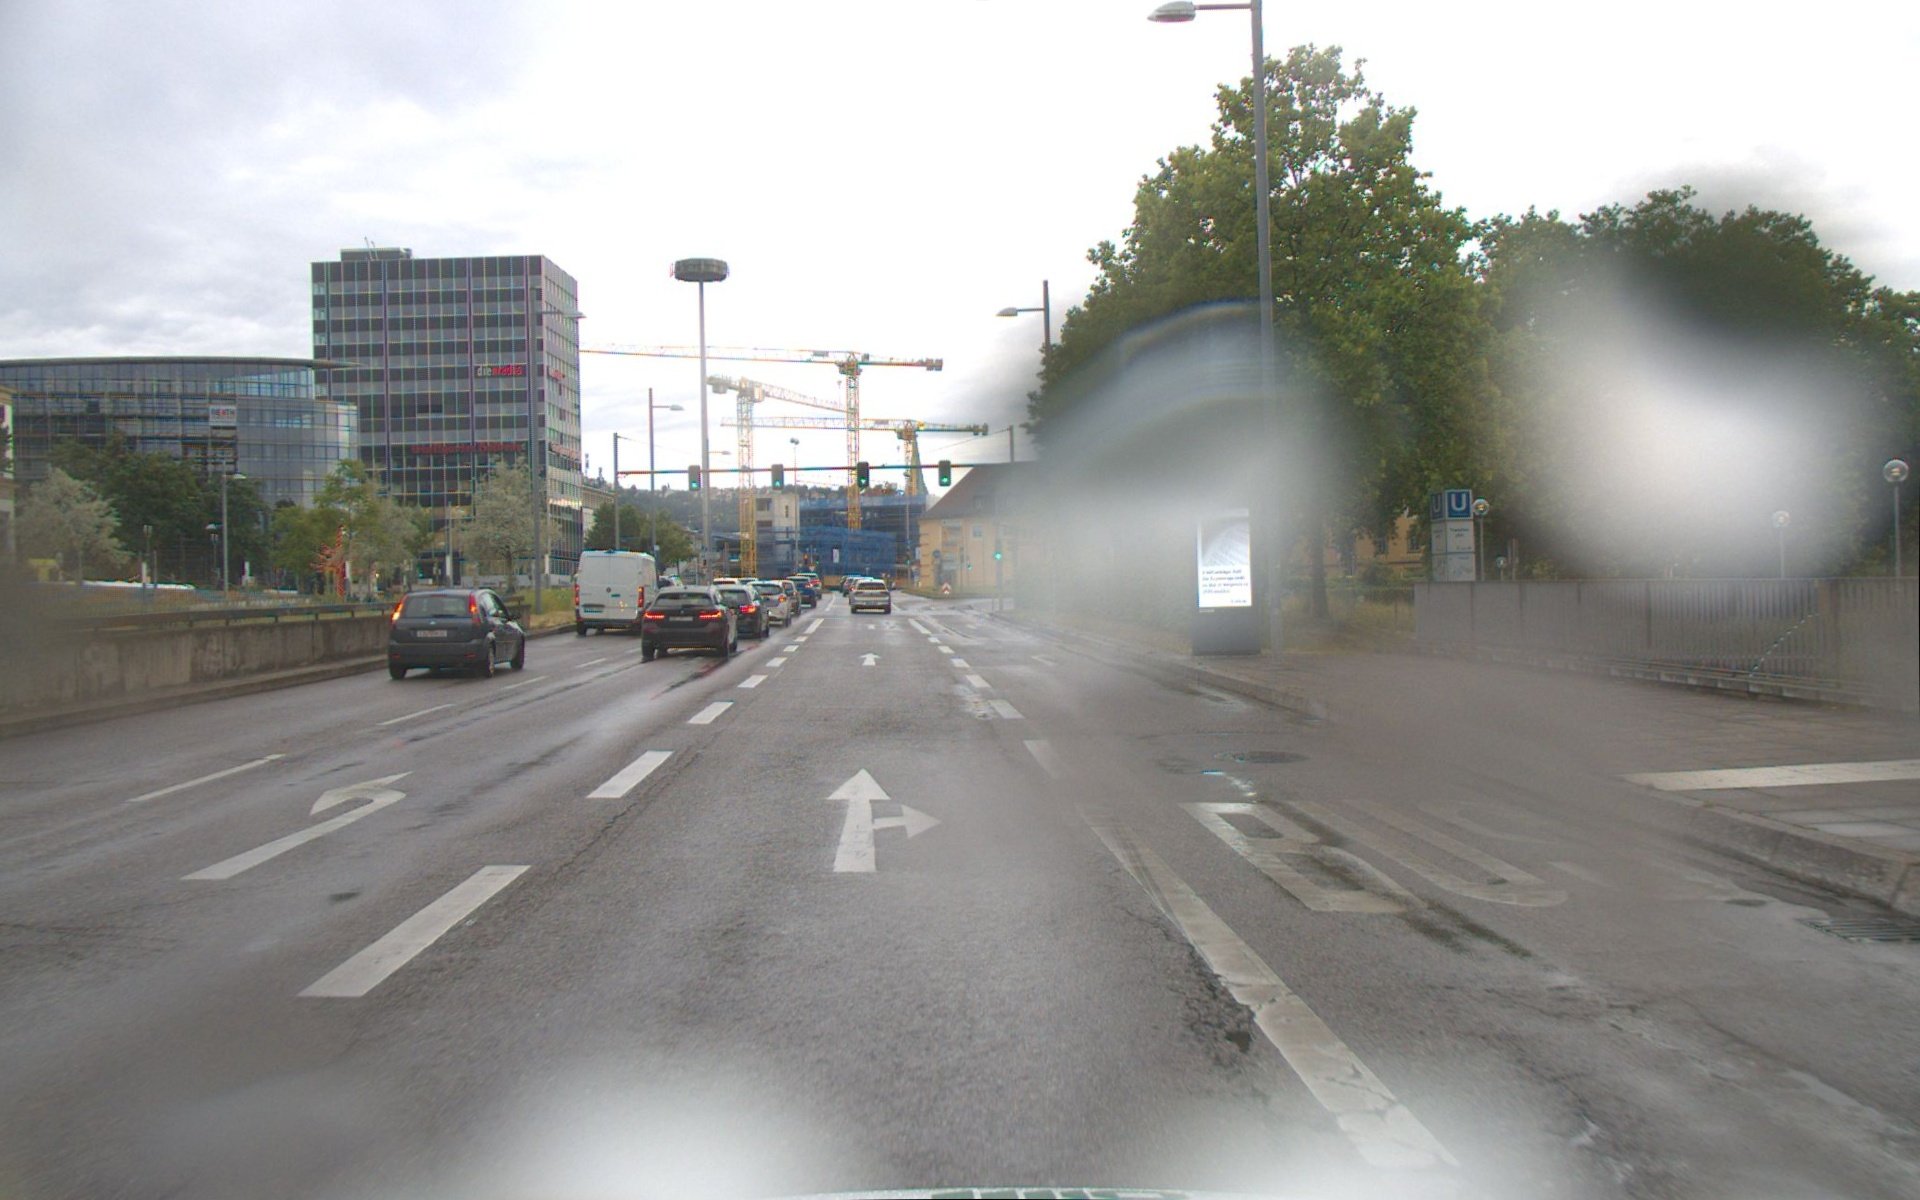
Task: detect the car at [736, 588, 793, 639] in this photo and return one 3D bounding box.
[{"bbox_3d":[-6.612,0.473,56.081,1.844,1.681,3.453,0,-1,-6],"label":"car"}]

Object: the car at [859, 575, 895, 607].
[{"bbox_3d":[-3.613,-0.381,72.351,1.415,1.383,2.412,0,-1,0],"label":"car"}]

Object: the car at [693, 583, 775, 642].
[{"bbox_3d":[-6.072,0.345,44.731,1.792,1.521,3.398,0,-1,-1],"label":"car"}]

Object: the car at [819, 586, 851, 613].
[{"bbox_3d":[-9.193,-0.013,121.976,2.117,1.912,3.770,0,-1,0],"label":"car"}]

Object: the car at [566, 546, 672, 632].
[{"bbox_3d":[-9.859,-0.274,48.235,2.246,2.355,5.003,0,-1,-2],"label":"car"}]

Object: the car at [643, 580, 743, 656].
[{"bbox_3d":[-5.639,0.329,35.338,1.719,1.497,4.219,0,1,-4],"label":"car"}]

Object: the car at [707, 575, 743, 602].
[{"bbox_3d":[-11.428,-0.556,80.537,1.520,1.282,2.578,0,-1,-3],"label":"car"}]

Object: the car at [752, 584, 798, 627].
[{"bbox_3d":[-7.657,0.245,68.779,1.682,1.758,3.492,0,-1,-3],"label":"car"}]

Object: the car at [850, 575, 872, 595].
[{"bbox_3d":[-5.342,-0.823,89.520,1.054,1.008,1.971,0,-2,0],"label":"car"}]

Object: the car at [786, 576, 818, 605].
[{"bbox_3d":[-7.813,-0.459,81.788,1.463,1.393,3.031,0,-1,-3],"label":"car"}]

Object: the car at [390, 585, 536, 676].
[{"bbox_3d":[-8.388,0.508,28.186,1.512,1.440,3.899,0,-1,-3],"label":"car"}]

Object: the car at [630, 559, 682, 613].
[{"bbox_3d":[-10.231,-0.449,55.833,1.435,1.736,3.138,0,-1,-5],"label":"car"}]
